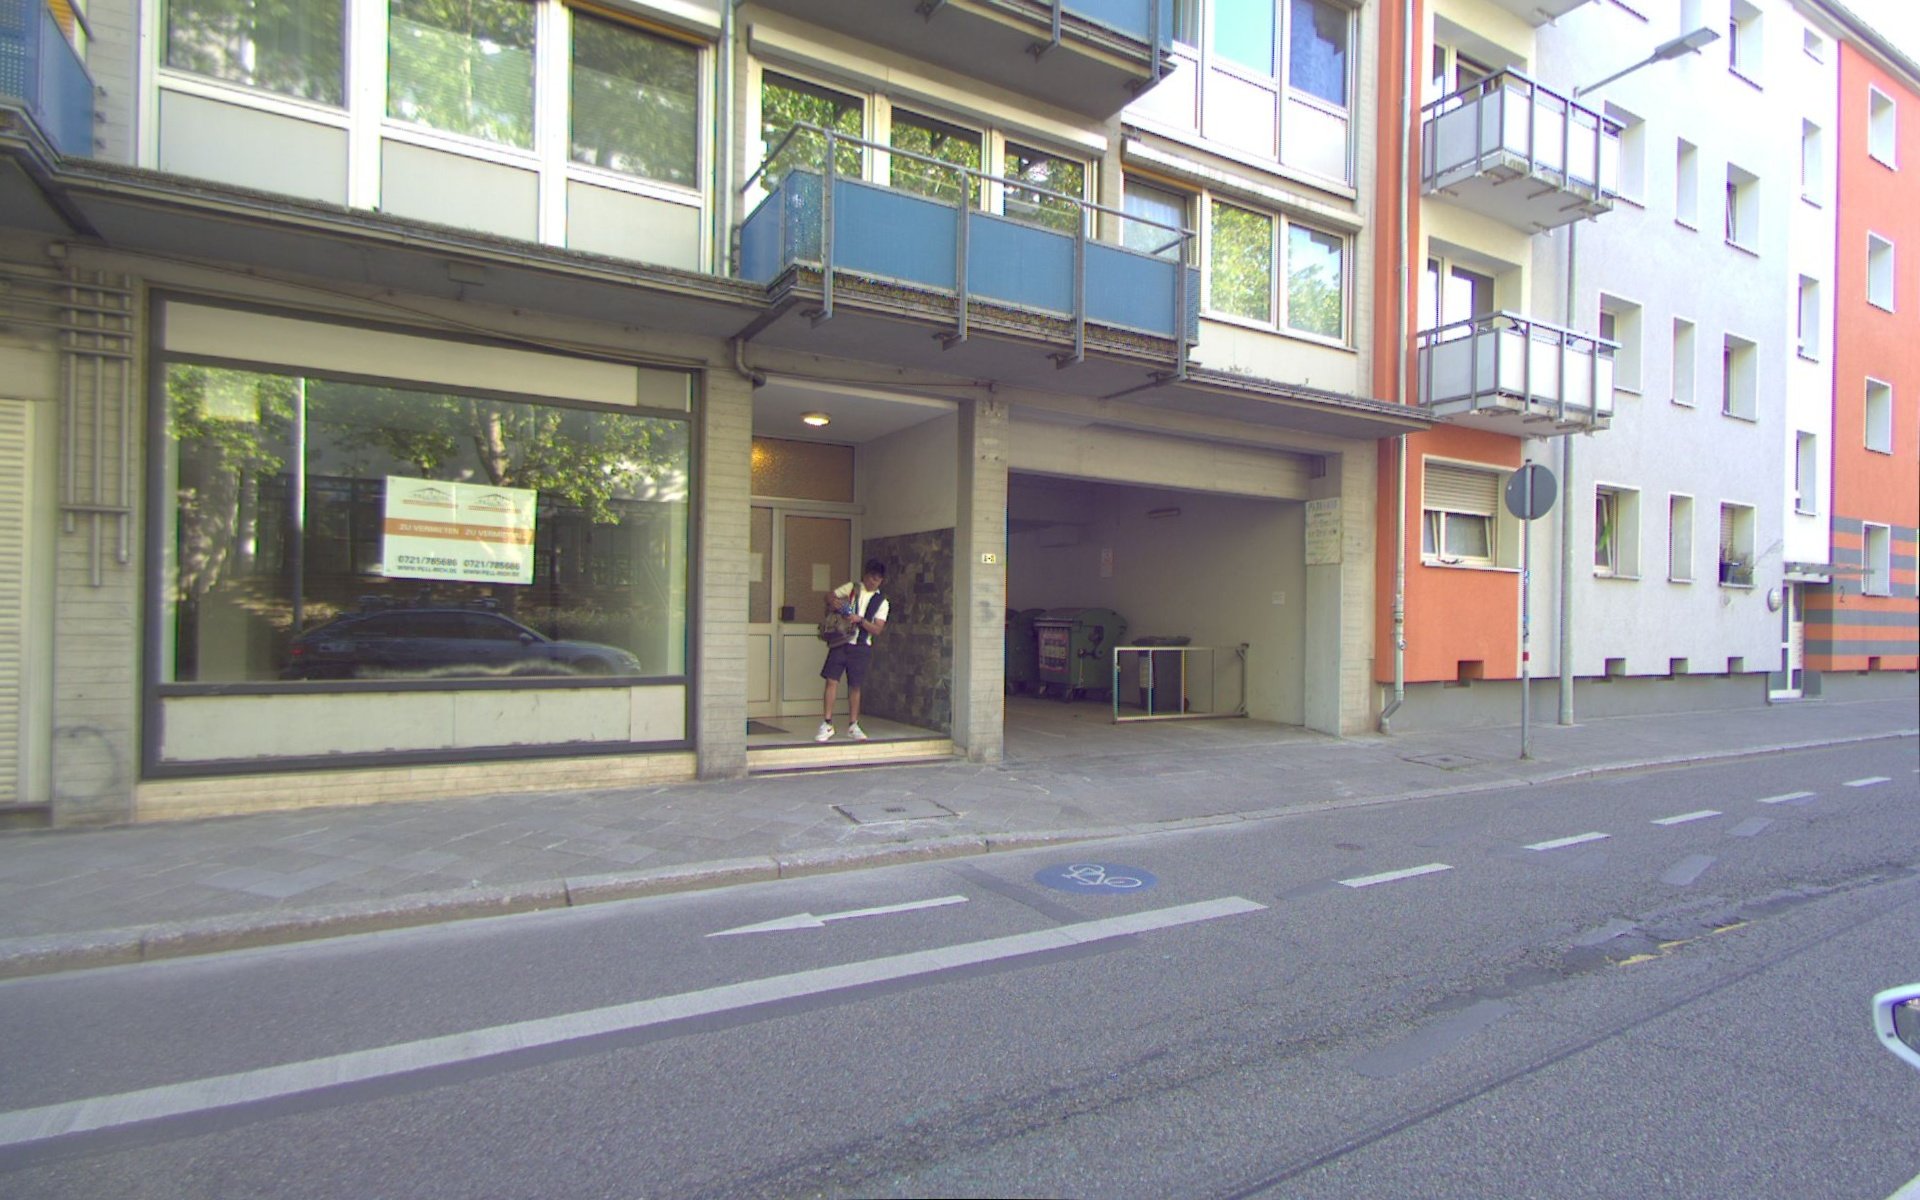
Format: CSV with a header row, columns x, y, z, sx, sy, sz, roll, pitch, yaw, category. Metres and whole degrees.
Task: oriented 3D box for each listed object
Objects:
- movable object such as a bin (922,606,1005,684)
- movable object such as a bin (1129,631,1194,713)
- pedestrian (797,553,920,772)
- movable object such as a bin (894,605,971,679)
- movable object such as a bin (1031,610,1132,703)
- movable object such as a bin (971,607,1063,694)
x,y,z,sx,sy,sz,roll,pitch,yaw,category
0.045,0.822,18.700,1.066,1.384,1.255,2,0,-27,movable object such as a bin
2.897,1.025,14.467,0.650,1.115,0.626,2,0,-27,movable object such as a bin
-0.940,0.551,9.260,0.882,1.902,0.703,2,0,-28,pedestrian
-0.564,0.809,19.870,1.066,1.384,1.255,2,0,-27,movable object such as a bin
1.897,0.866,15.817,1.066,1.384,1.192,2,0,-27,movable object such as a bin
0.955,0.843,17.132,1.066,1.384,1.255,2,0,-27,movable object such as a bin
